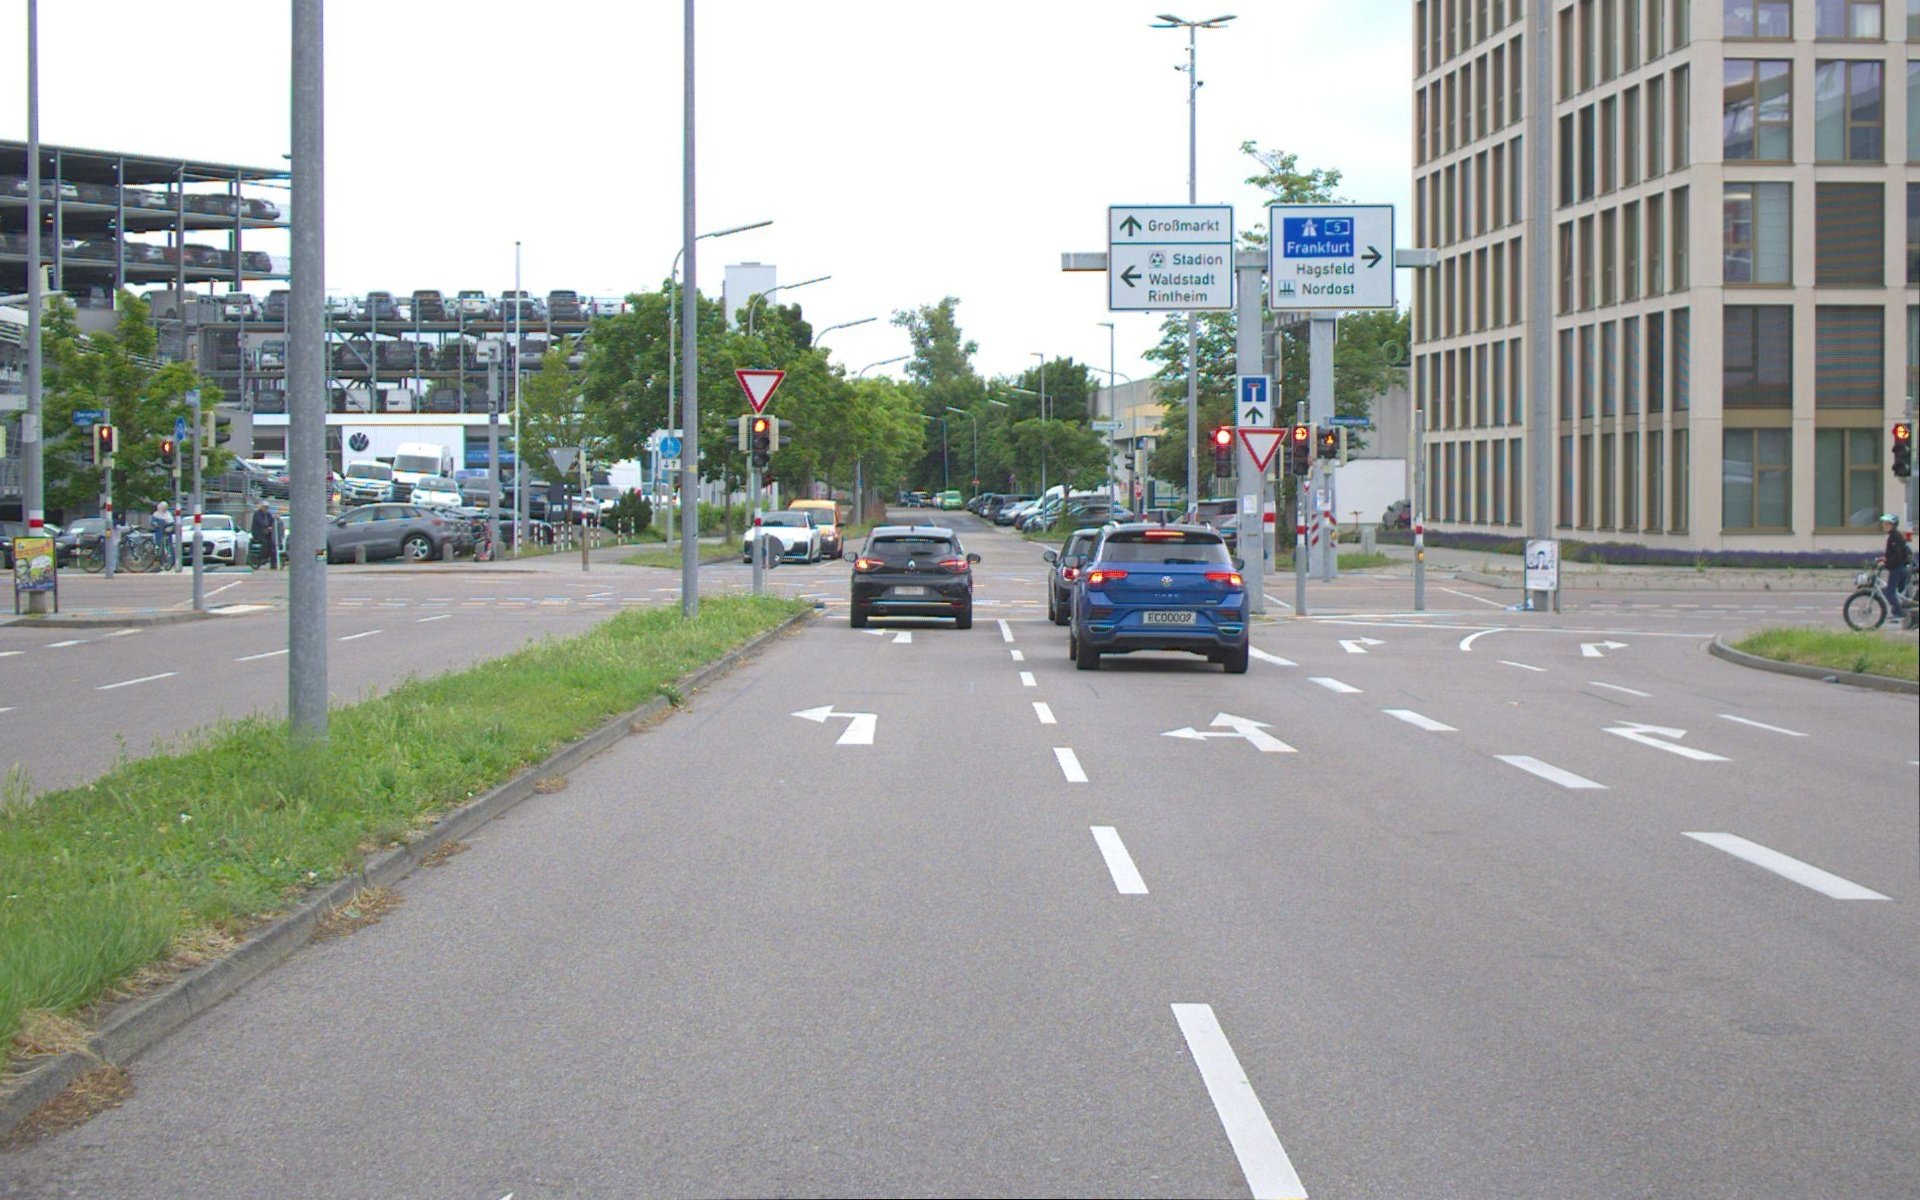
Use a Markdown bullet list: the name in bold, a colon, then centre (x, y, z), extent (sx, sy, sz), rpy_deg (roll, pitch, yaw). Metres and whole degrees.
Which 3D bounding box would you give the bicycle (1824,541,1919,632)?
- **bicycle**: centre (13.832, -0.210, 50.764), extent (0.700, 1.291, 2.010), rpy_deg (-1, 2, -41)

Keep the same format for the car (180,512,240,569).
- **car**: centre (-19.266, -1.544, 88.258), extent (1.370, 1.321, 3.035), rpy_deg (-1, 3, -15)

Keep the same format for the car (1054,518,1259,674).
- **car**: centre (2.043, -0.088, 36.809), extent (1.835, 1.509, 4.001), rpy_deg (2, 1, -1)

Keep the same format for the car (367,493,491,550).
- **car**: centre (-16.033, -2.372, 103.839), extent (3.604, 1.662, 1.549), rpy_deg (0, 3, -5)

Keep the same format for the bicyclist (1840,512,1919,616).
- **bicyclist**: centre (13.682, -0.543, 50.925), extent (0.700, 1.498, 1.000), rpy_deg (-1, 2, -41)

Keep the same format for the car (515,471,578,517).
- **car**: centre (-16.481, -4.242, 137.119), extent (1.776, 1.700, 3.916), rpy_deg (1, 3, 4)

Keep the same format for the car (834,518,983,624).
- **car**: centre (-0.791, -0.449, 49.390), extent (1.987, 1.423, 4.242), rpy_deg (0, 2, -3)

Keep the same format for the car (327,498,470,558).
- **car**: centre (-15.543, -1.993, 95.304), extent (3.822, 1.584, 1.683), rpy_deg (0, 3, -5)

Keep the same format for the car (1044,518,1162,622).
- **car**: centre (2.108, -0.466, 51.358), extent (1.524, 1.427, 3.391), rpy_deg (1, 2, -1)

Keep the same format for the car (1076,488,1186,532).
- **car**: centre (6.193, -3.257, 124.470), extent (3.607, 1.473, 1.758), rpy_deg (2, 3, 20)

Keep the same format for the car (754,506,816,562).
- **car**: centre (-4.922, -1.872, 97.157), extent (1.600, 1.448, 3.325), rpy_deg (0, 3, -1)

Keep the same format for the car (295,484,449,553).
- **car**: centre (-15.905, -2.222, 93.140), extent (3.986, 1.784, 1.848), rpy_deg (0, 3, -5)

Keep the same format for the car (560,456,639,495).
- **car**: centre (-15.423, -5.343, 147.188), extent (3.295, 1.635, 1.480), rpy_deg (0, 3, -4)

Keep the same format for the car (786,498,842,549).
- **car**: centre (-4.444, -2.349, 105.295), extent (1.600, 1.448, 3.325), rpy_deg (0, 3, -1)

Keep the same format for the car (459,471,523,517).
- **car**: centre (-18.671, -4.252, 137.059), extent (1.776, 1.700, 3.916), rpy_deg (1, 3, 4)

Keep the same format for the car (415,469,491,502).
- **car**: centre (-24.739, -5.590, 167.766), extent (3.661, 1.523, 1.615), rpy_deg (0, 3, -7)
